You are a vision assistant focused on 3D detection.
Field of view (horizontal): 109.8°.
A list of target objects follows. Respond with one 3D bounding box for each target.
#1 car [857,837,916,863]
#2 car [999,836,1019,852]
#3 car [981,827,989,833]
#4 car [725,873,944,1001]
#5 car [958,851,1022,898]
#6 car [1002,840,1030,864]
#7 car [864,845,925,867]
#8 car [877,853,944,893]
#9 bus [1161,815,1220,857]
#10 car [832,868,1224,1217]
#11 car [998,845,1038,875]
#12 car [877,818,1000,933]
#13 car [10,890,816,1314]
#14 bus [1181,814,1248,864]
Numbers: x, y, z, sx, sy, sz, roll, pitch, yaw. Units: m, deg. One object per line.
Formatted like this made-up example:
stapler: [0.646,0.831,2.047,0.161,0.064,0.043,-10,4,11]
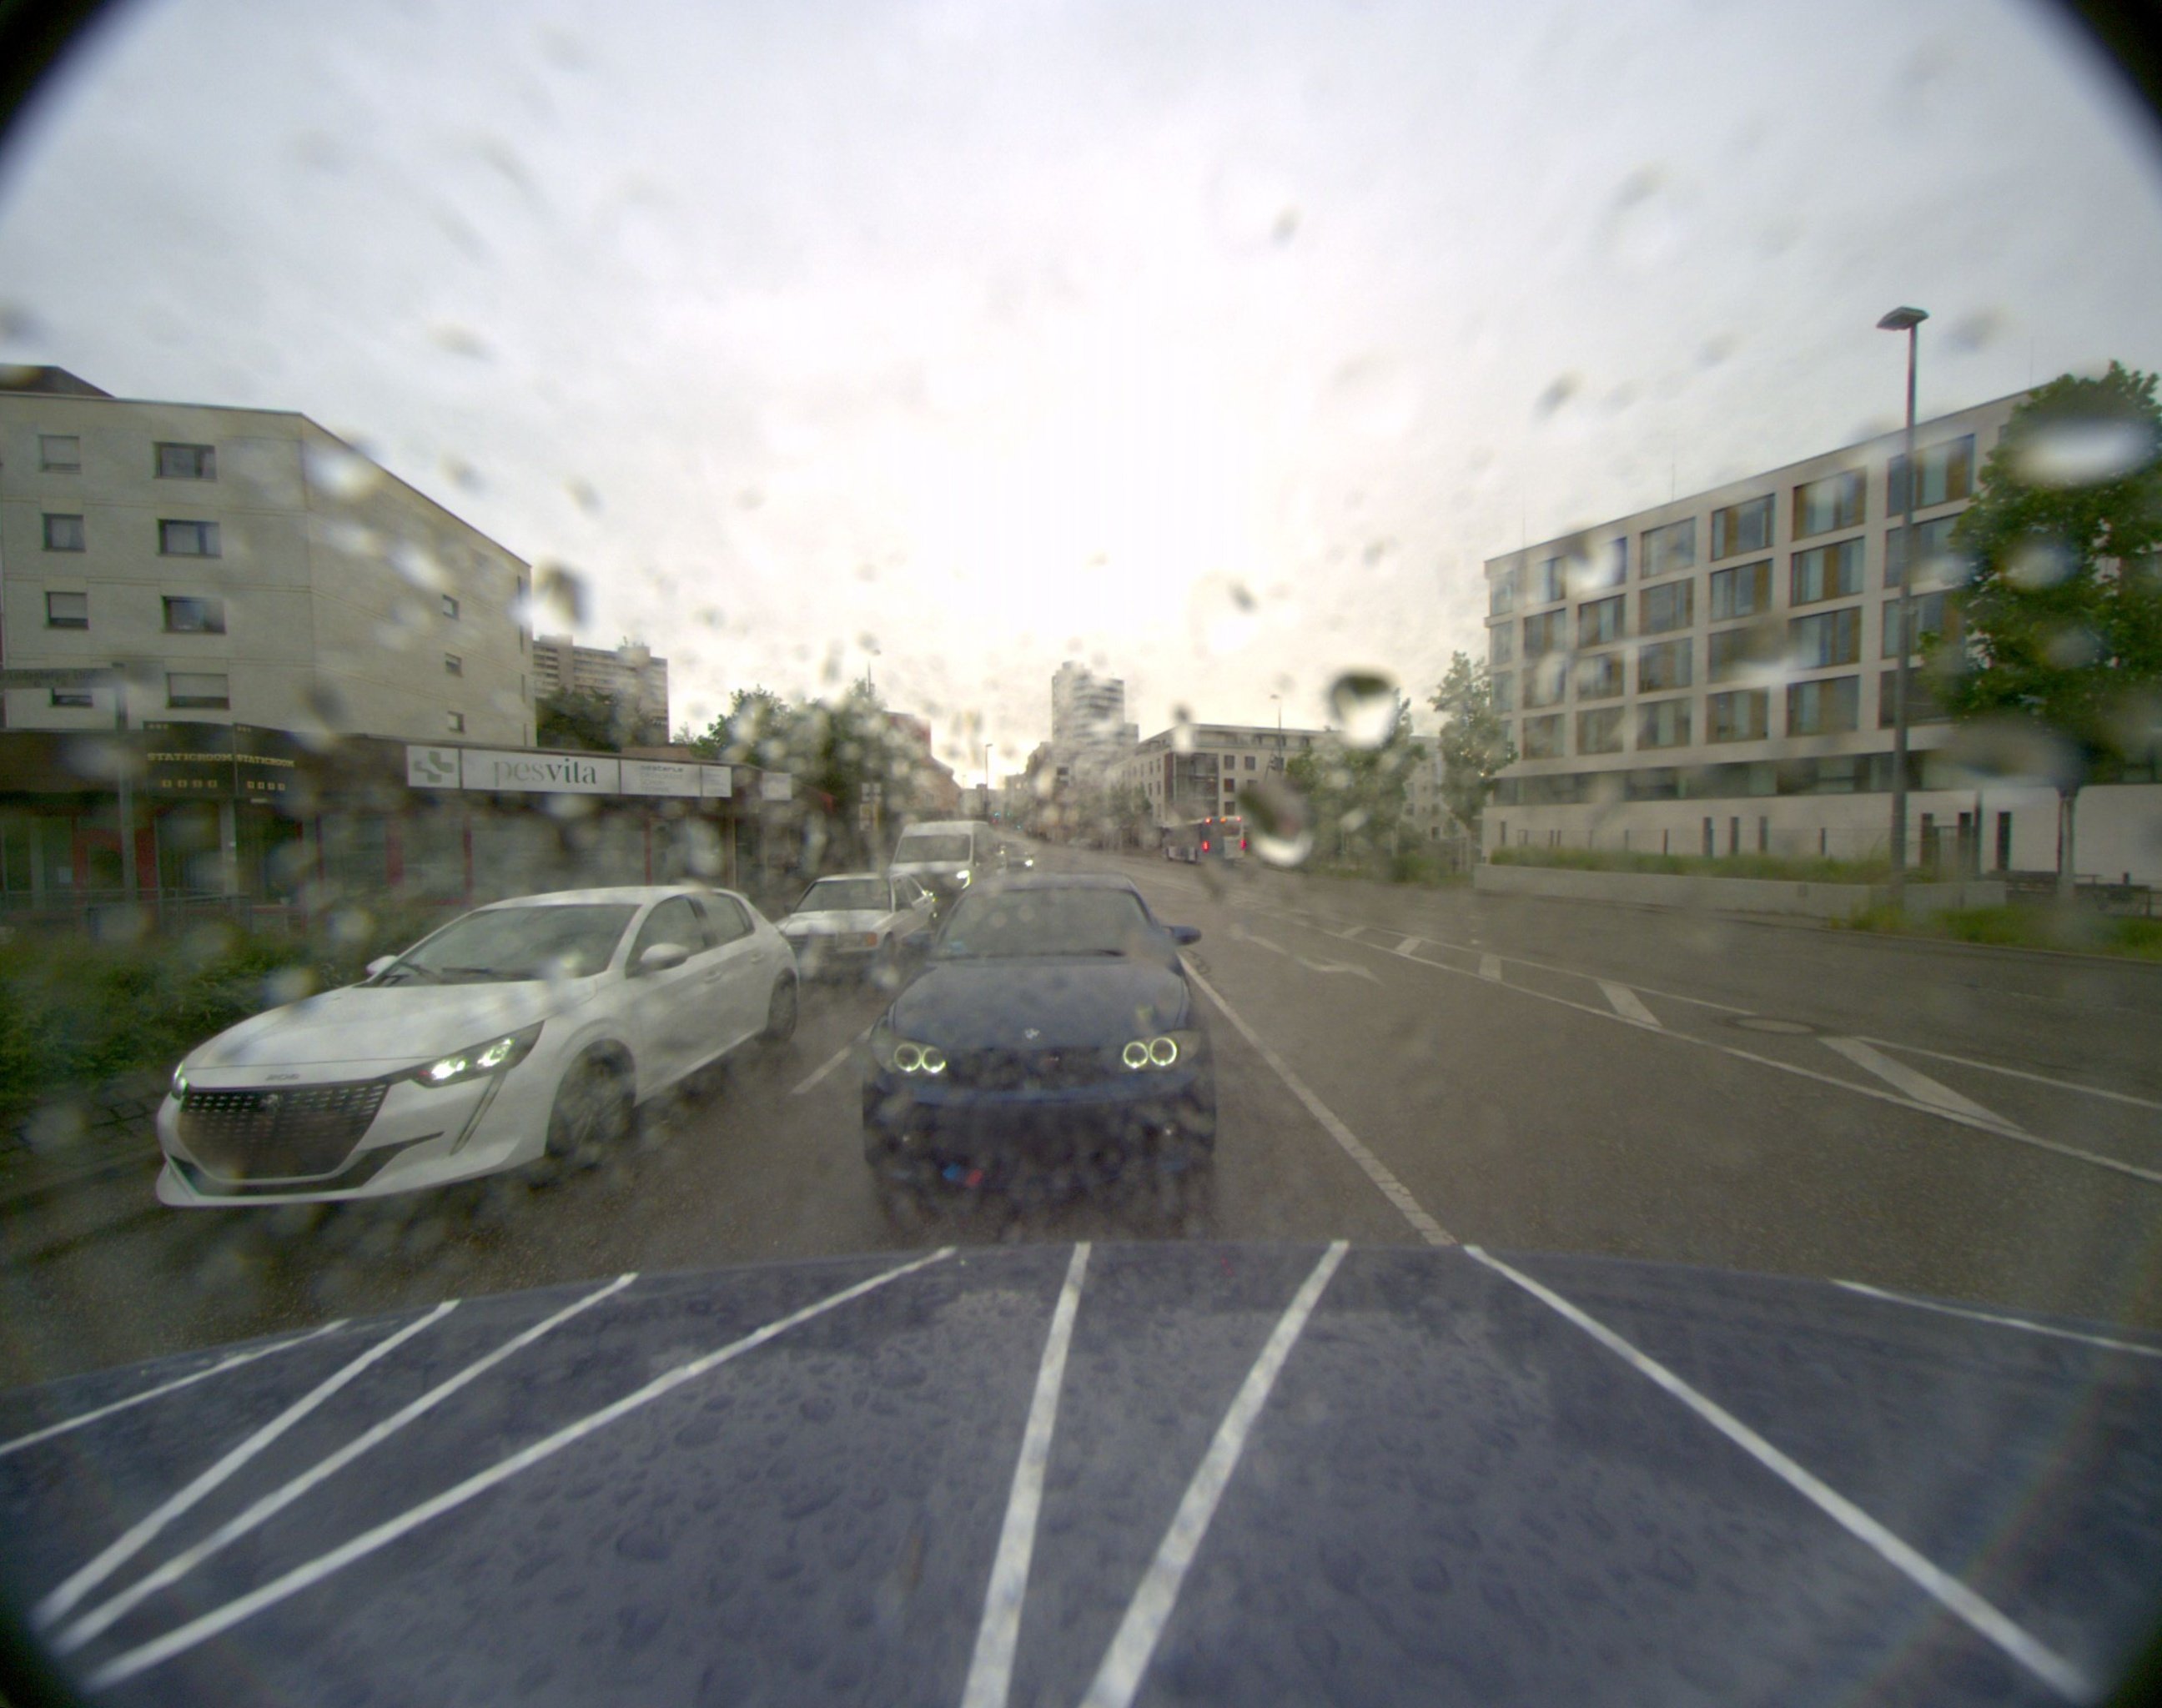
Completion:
car: [-14.090,-0.297,55.338,4.000,1.769,1.882,-1,1,-10]
car: [-8.215,-1.141,87.026,1.879,1.745,4.000,1,0,1]
car: [-26.733,-6.748,211.486,1.666,1.625,3.801,-2,1,-11]
car: [-3.351,1.055,11.264,1.788,1.338,4.162,-2,1,1]
car: [-3.337,0.713,28.459,1.803,1.530,3.999,-2,1,1]
car: [-5.668,-0.241,66.550,1.998,2.002,3.999,0,1,1]
car: [-12.988,0.114,53.023,4.000,1.419,1.882,-1,1,-10]
car: [-6.999,0.745,31.578,1.788,1.481,4.000,-2,1,1]
bus: [8.640,-1.395,61.135,2.800,3.096,8.879,-1,1,-4]
car: [-0.275,0.870,5.363,1.693,1.380,3.999,-2,1,-1]
car: [-3.630,0.340,44.418,1.999,1.559,3.998,-2,1,-1]
car: [-3.479,0.415,19.899,2.197,2.503,6.120,-1,1,-2]
car: [-3.359,1.087,5.070,1.666,1.407,4.114,-2,1,1]
bus: [8.949,-0.981,52.019,2.784,3.096,9.365,-1,1,-1]
